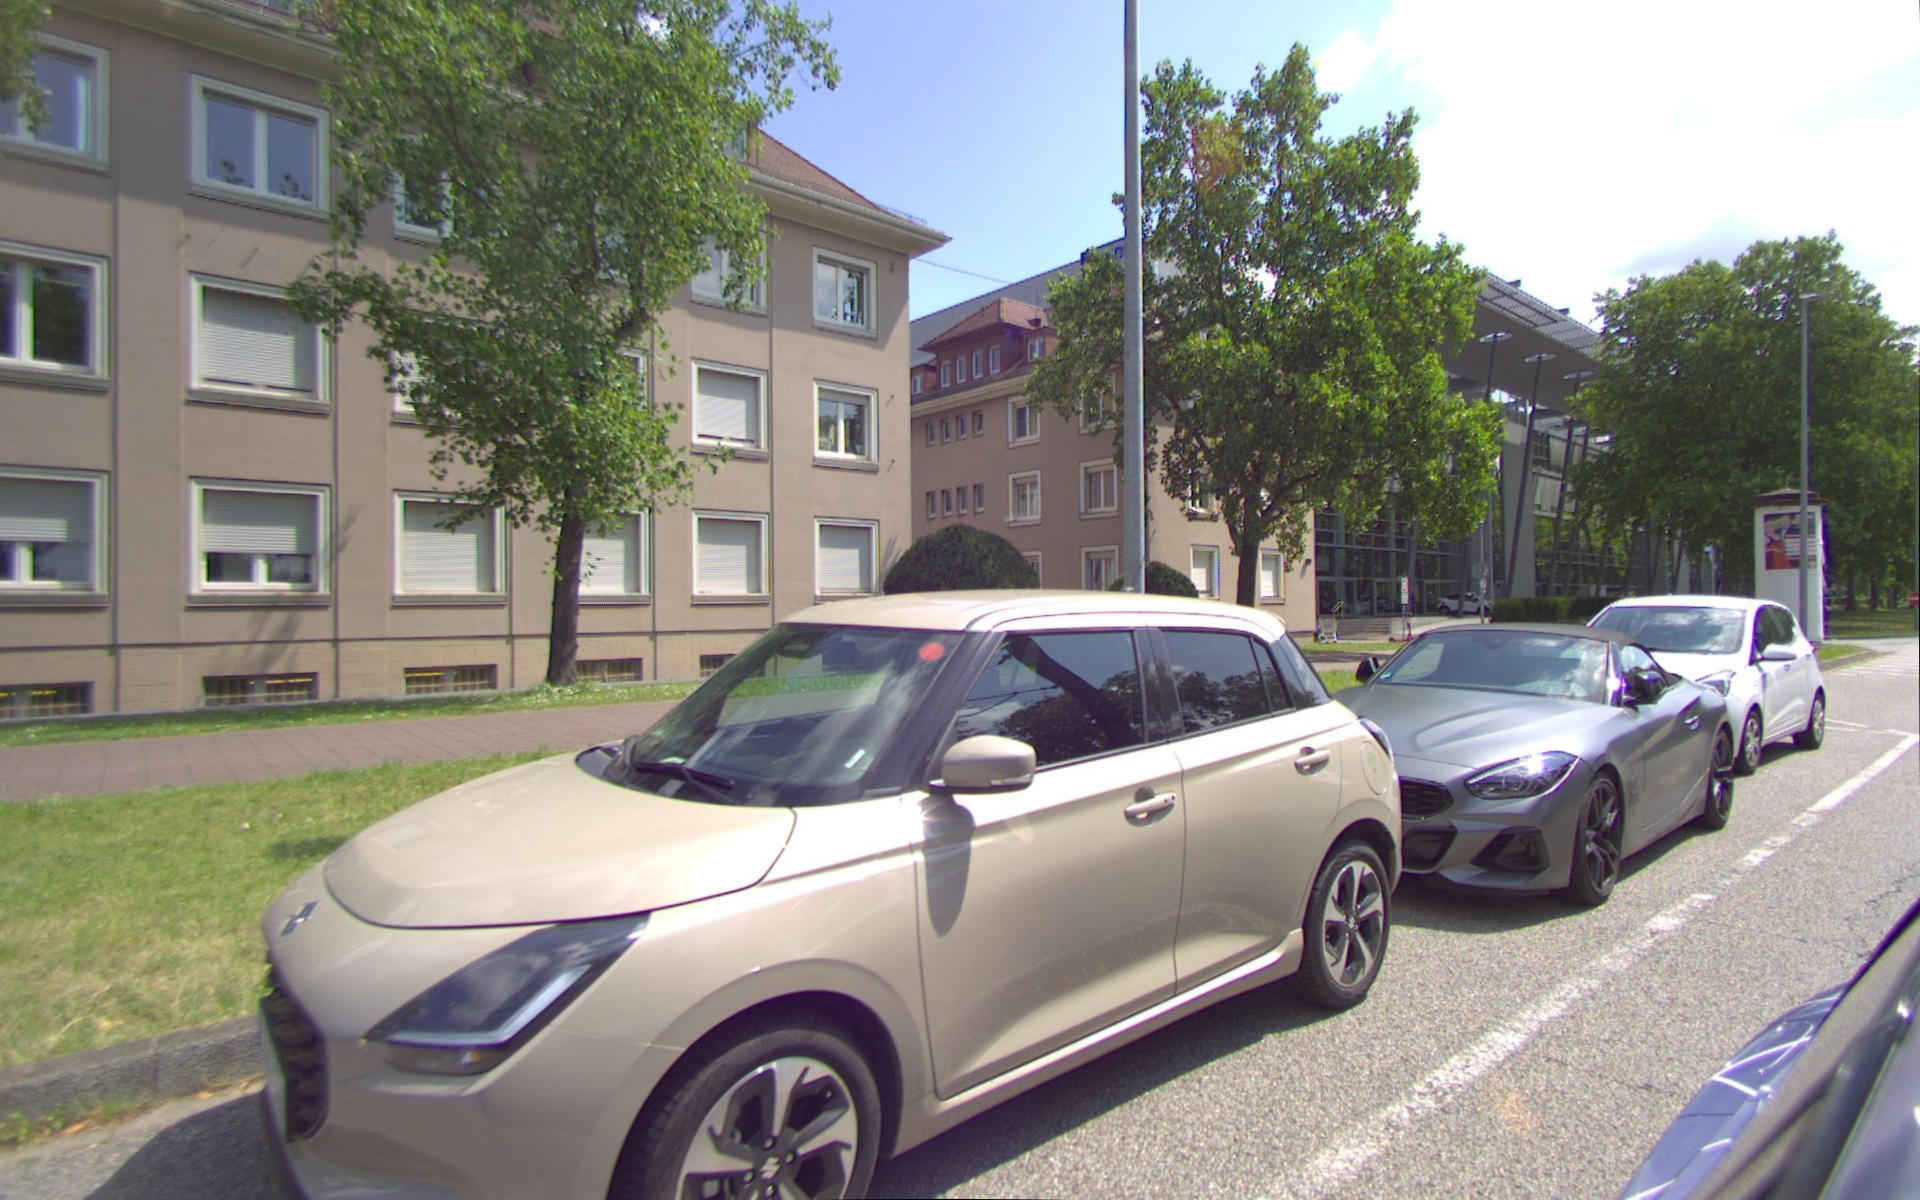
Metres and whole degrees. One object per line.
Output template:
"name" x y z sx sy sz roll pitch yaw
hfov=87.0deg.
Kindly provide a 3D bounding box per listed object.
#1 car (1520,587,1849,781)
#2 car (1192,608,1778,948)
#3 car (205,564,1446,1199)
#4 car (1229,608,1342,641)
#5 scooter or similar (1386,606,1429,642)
"car" 7.110 0.652 9.810 3.723 1.498 1.710 -1 0 -40
"car" 3.525 0.769 6.375 4.366 1.328 1.826 -1 0 -42
"car" -0.104 0.688 3.362 3.782 1.534 1.672 -1 0 -40
"car" 14.679 1.109 45.755 1.966 1.371 4.456 -1 -1 -42
"scooter or similar" 16.955 0.897 38.348 0.536 1.320 1.446 -1 -1 -25
